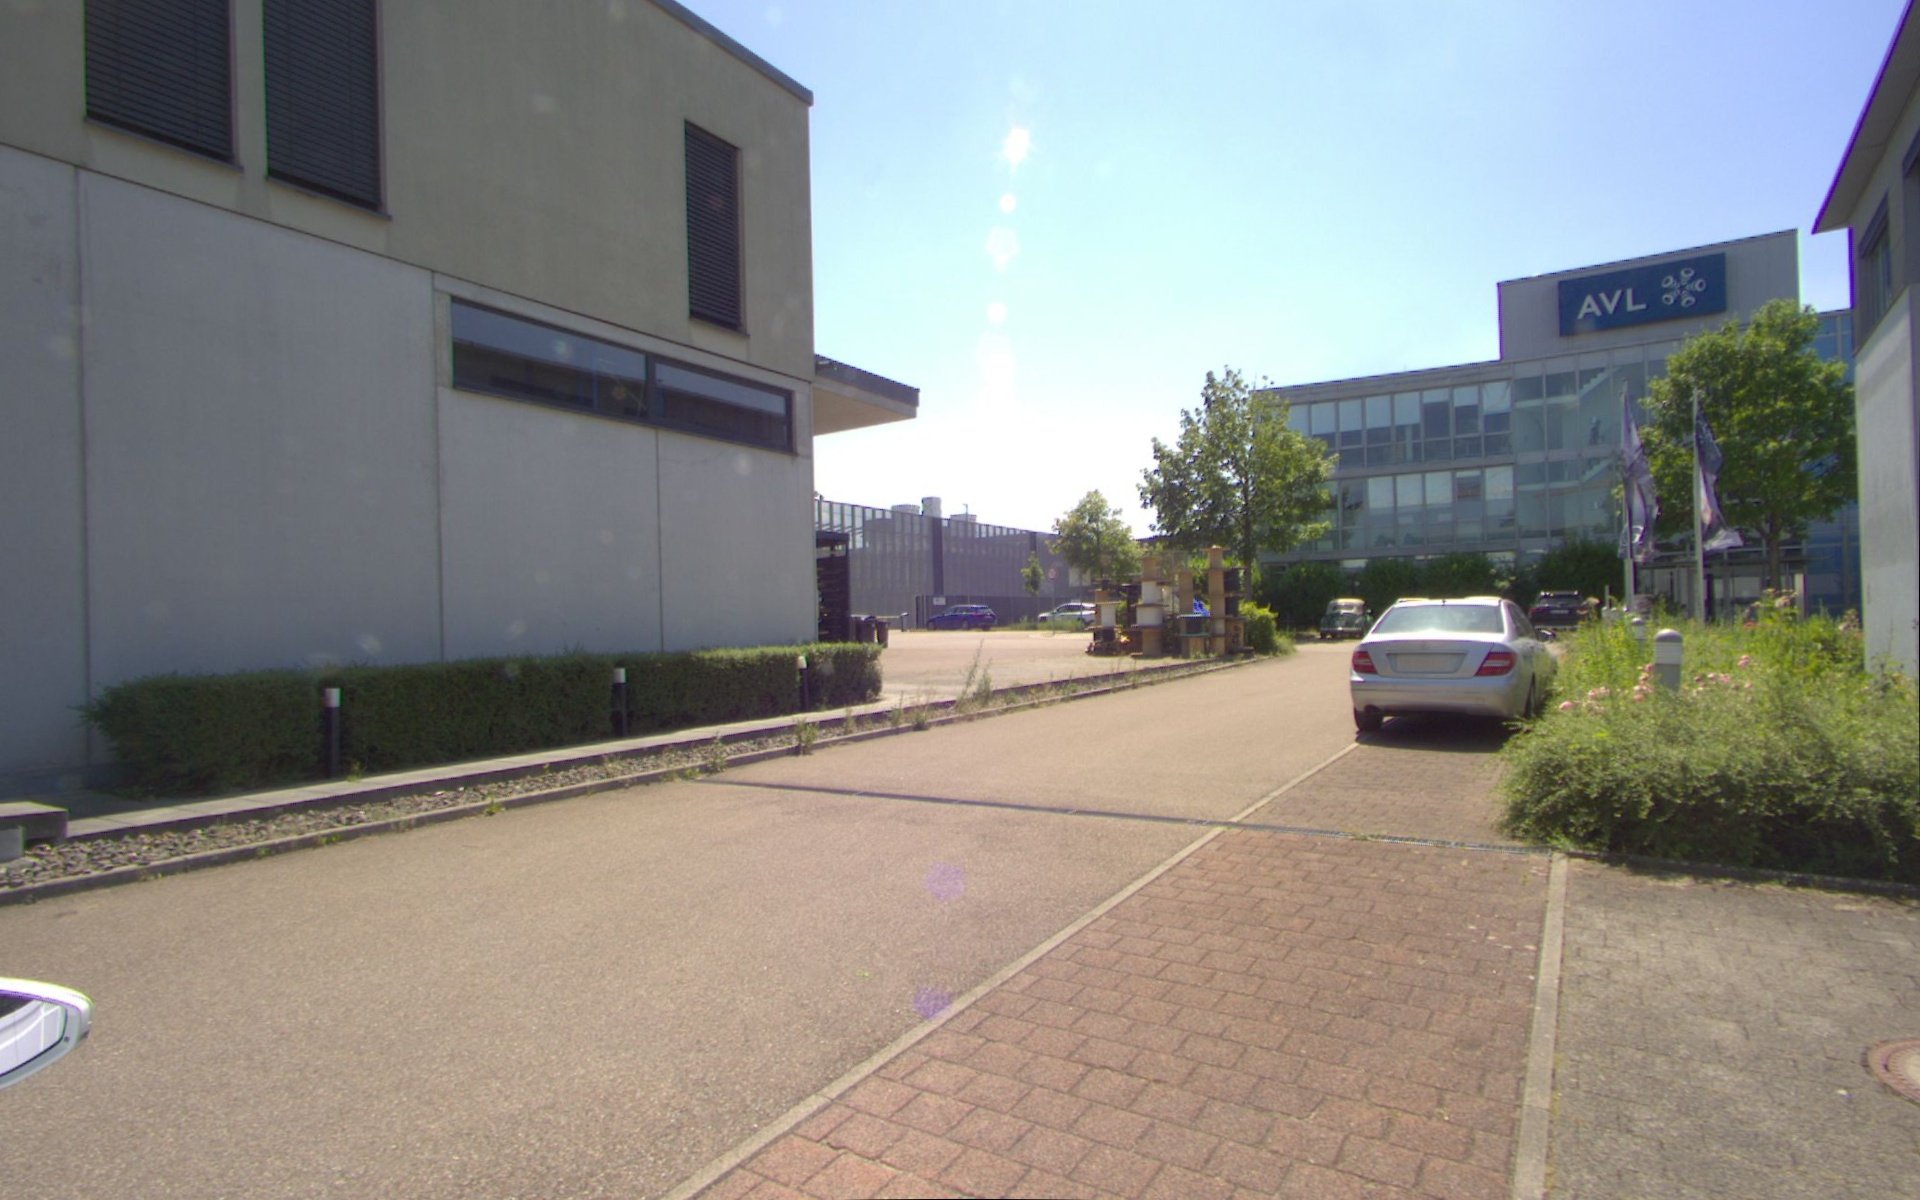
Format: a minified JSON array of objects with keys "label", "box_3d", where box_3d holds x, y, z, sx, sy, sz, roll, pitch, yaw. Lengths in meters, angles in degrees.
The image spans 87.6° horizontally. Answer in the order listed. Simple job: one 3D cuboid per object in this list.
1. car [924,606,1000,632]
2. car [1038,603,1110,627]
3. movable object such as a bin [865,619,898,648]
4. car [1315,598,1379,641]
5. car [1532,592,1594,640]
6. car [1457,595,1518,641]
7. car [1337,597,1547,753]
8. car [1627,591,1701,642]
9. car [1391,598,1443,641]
[{"label":"car","box_3d":[0.073,1.090,56.745,1.732,1.433,4.406,2,-2,-43]},{"label":"car","box_3d":[7.193,0.982,63.503,1.733,1.433,4.404,2,-2,-44]},{"label":"movable object such as a bin","box_3d":[-2.668,1.134,34.171,0.806,0.993,0.806,-1,-1,32]},{"label":"car","box_3d":[14.662,0.736,37.869,1.723,1.538,3.983,-1,-1,29]},{"label":"car","box_3d":[20.726,0.559,34.385,1.724,1.538,3.980,-1,-1,32]},{"label":"car","box_3d":[18.927,0.659,36.072,1.721,1.538,3.988,-1,-1,25]},{"label":"car","box_3d":[5.602,0.748,11.404,1.705,1.455,3.697,-1,-1,33]},{"label":"car","box_3d":[23.017,0.555,32.864,1.724,1.538,3.980,-1,-1,32]},{"label":"car","box_3d":[16.721,0.725,36.650,1.647,1.459,3.988,-1,-1,25]}]
